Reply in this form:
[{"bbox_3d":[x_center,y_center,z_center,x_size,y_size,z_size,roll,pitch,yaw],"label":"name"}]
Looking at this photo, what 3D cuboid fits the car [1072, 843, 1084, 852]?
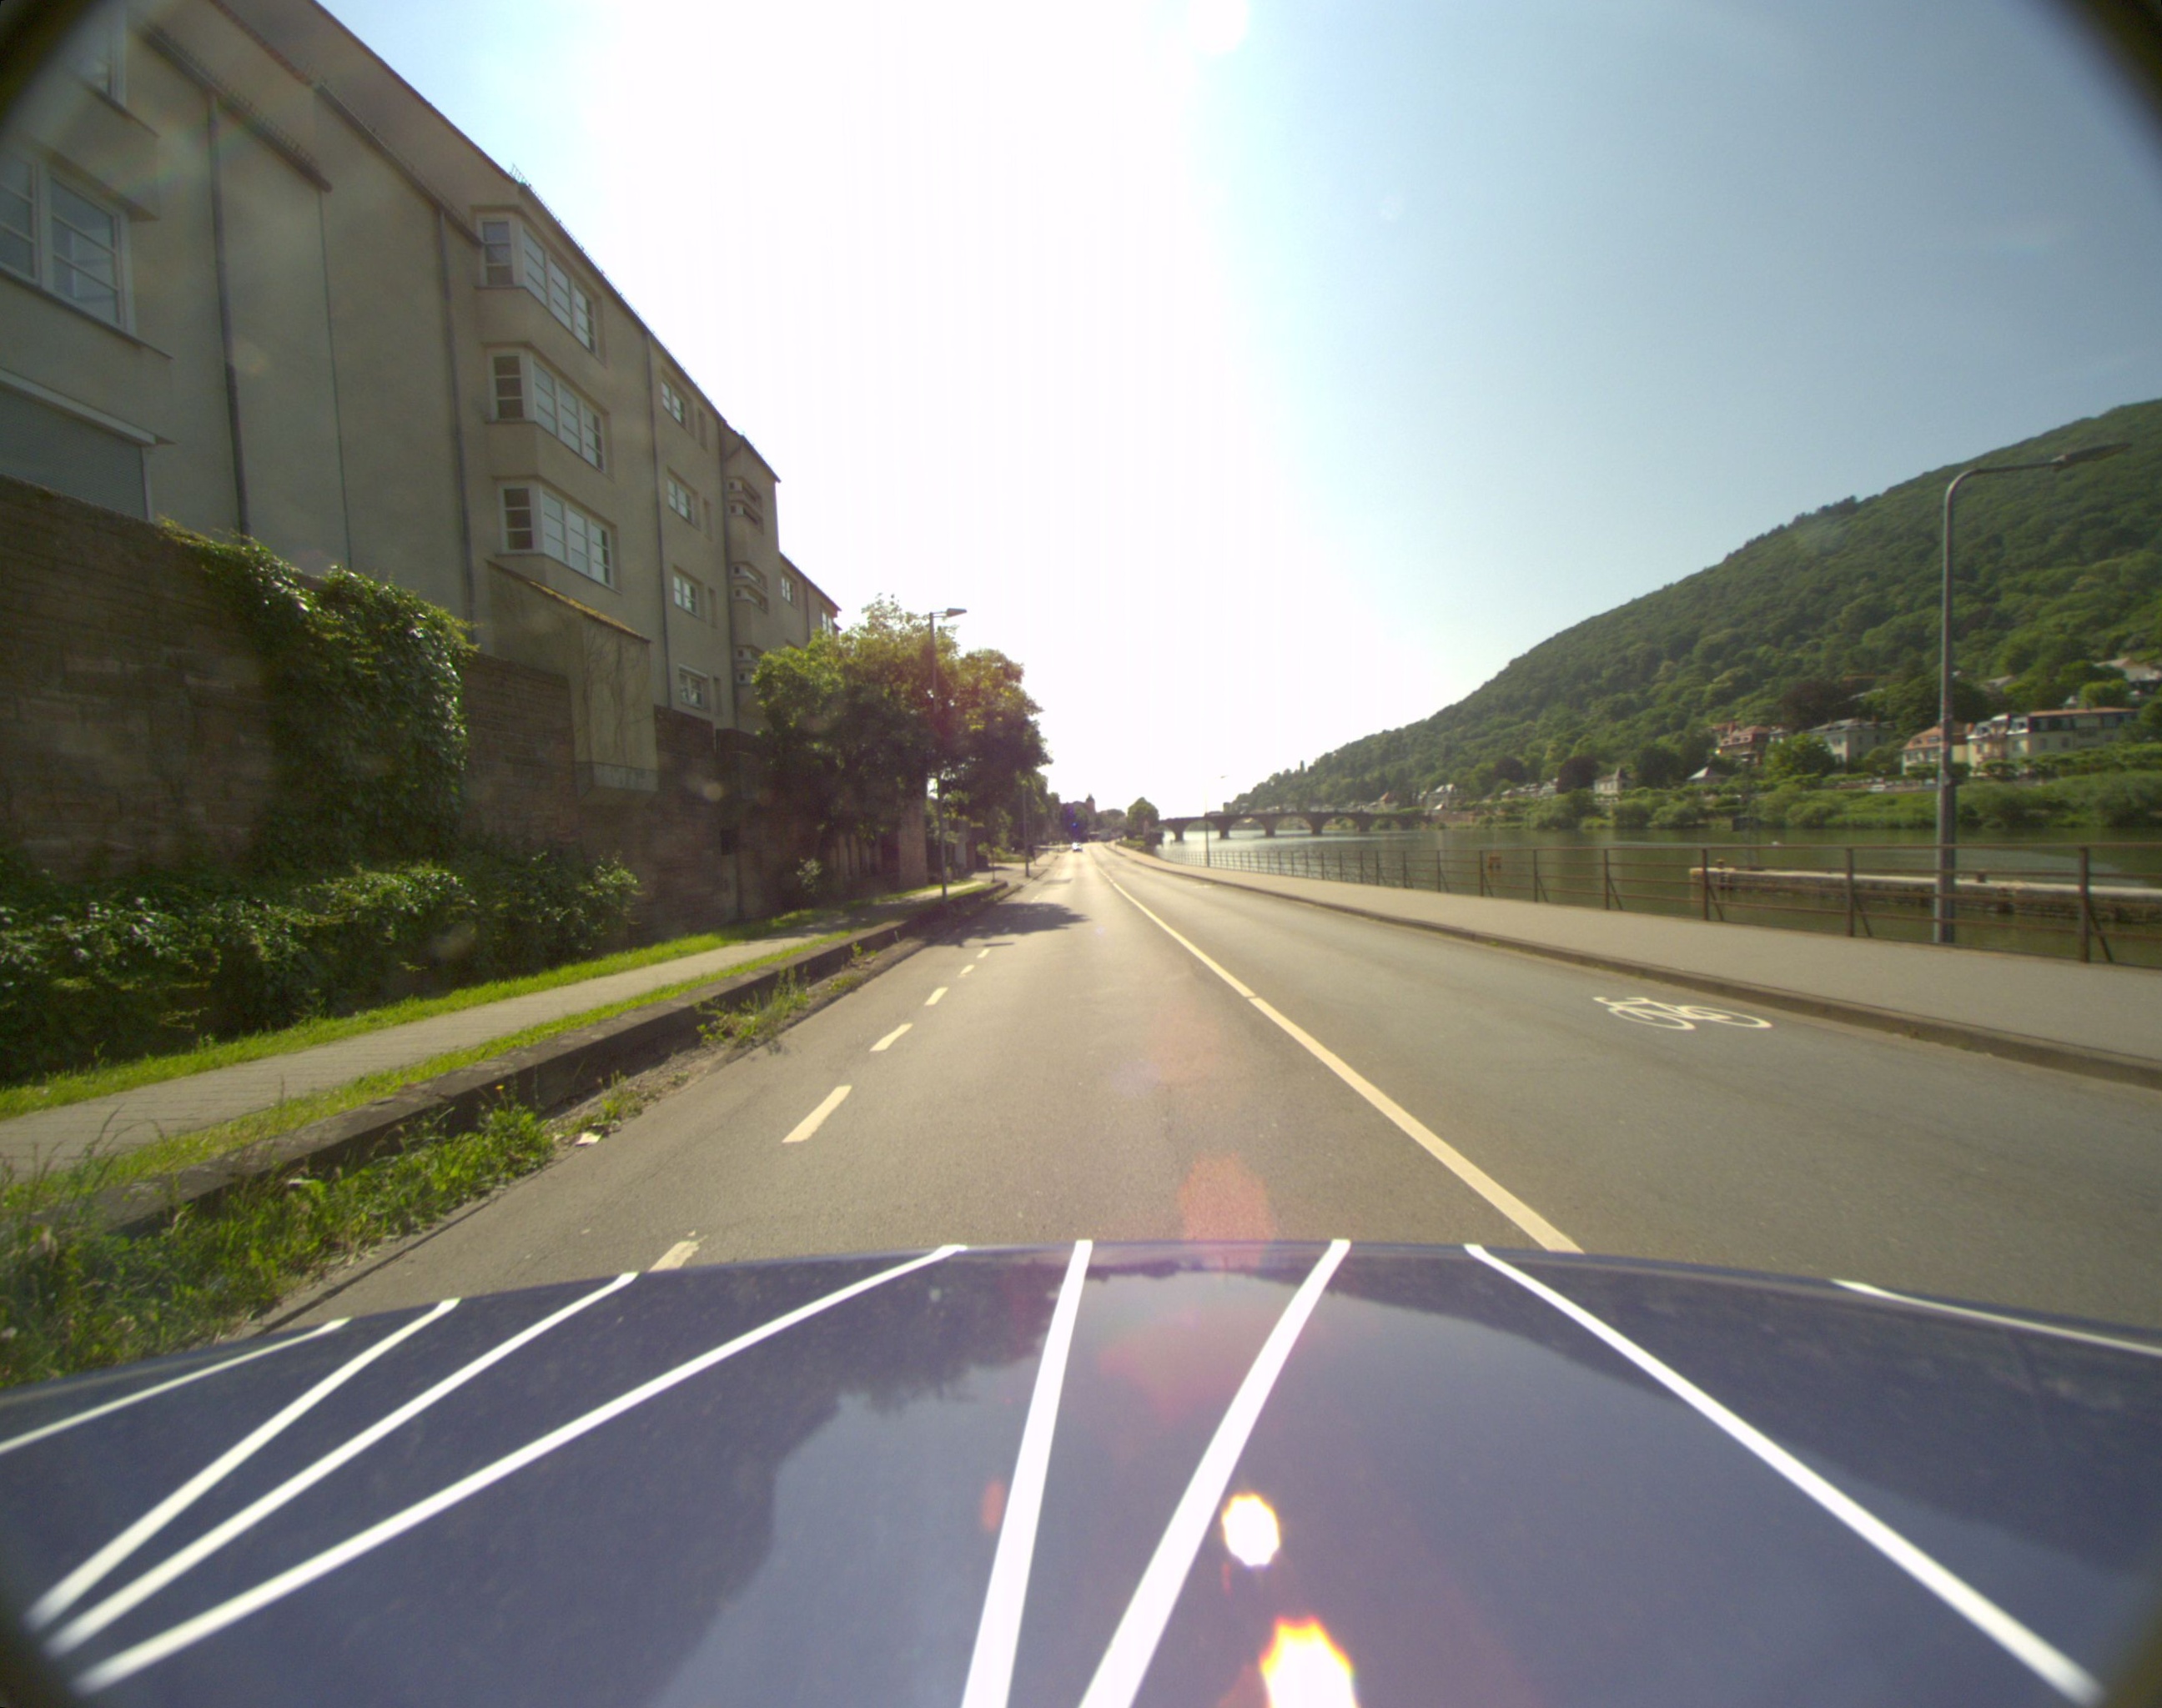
[{"bbox_3d":[-0.534,-1.116,133.103,1.998,1.433,4.000,-1,0,2],"label":"car"}]
